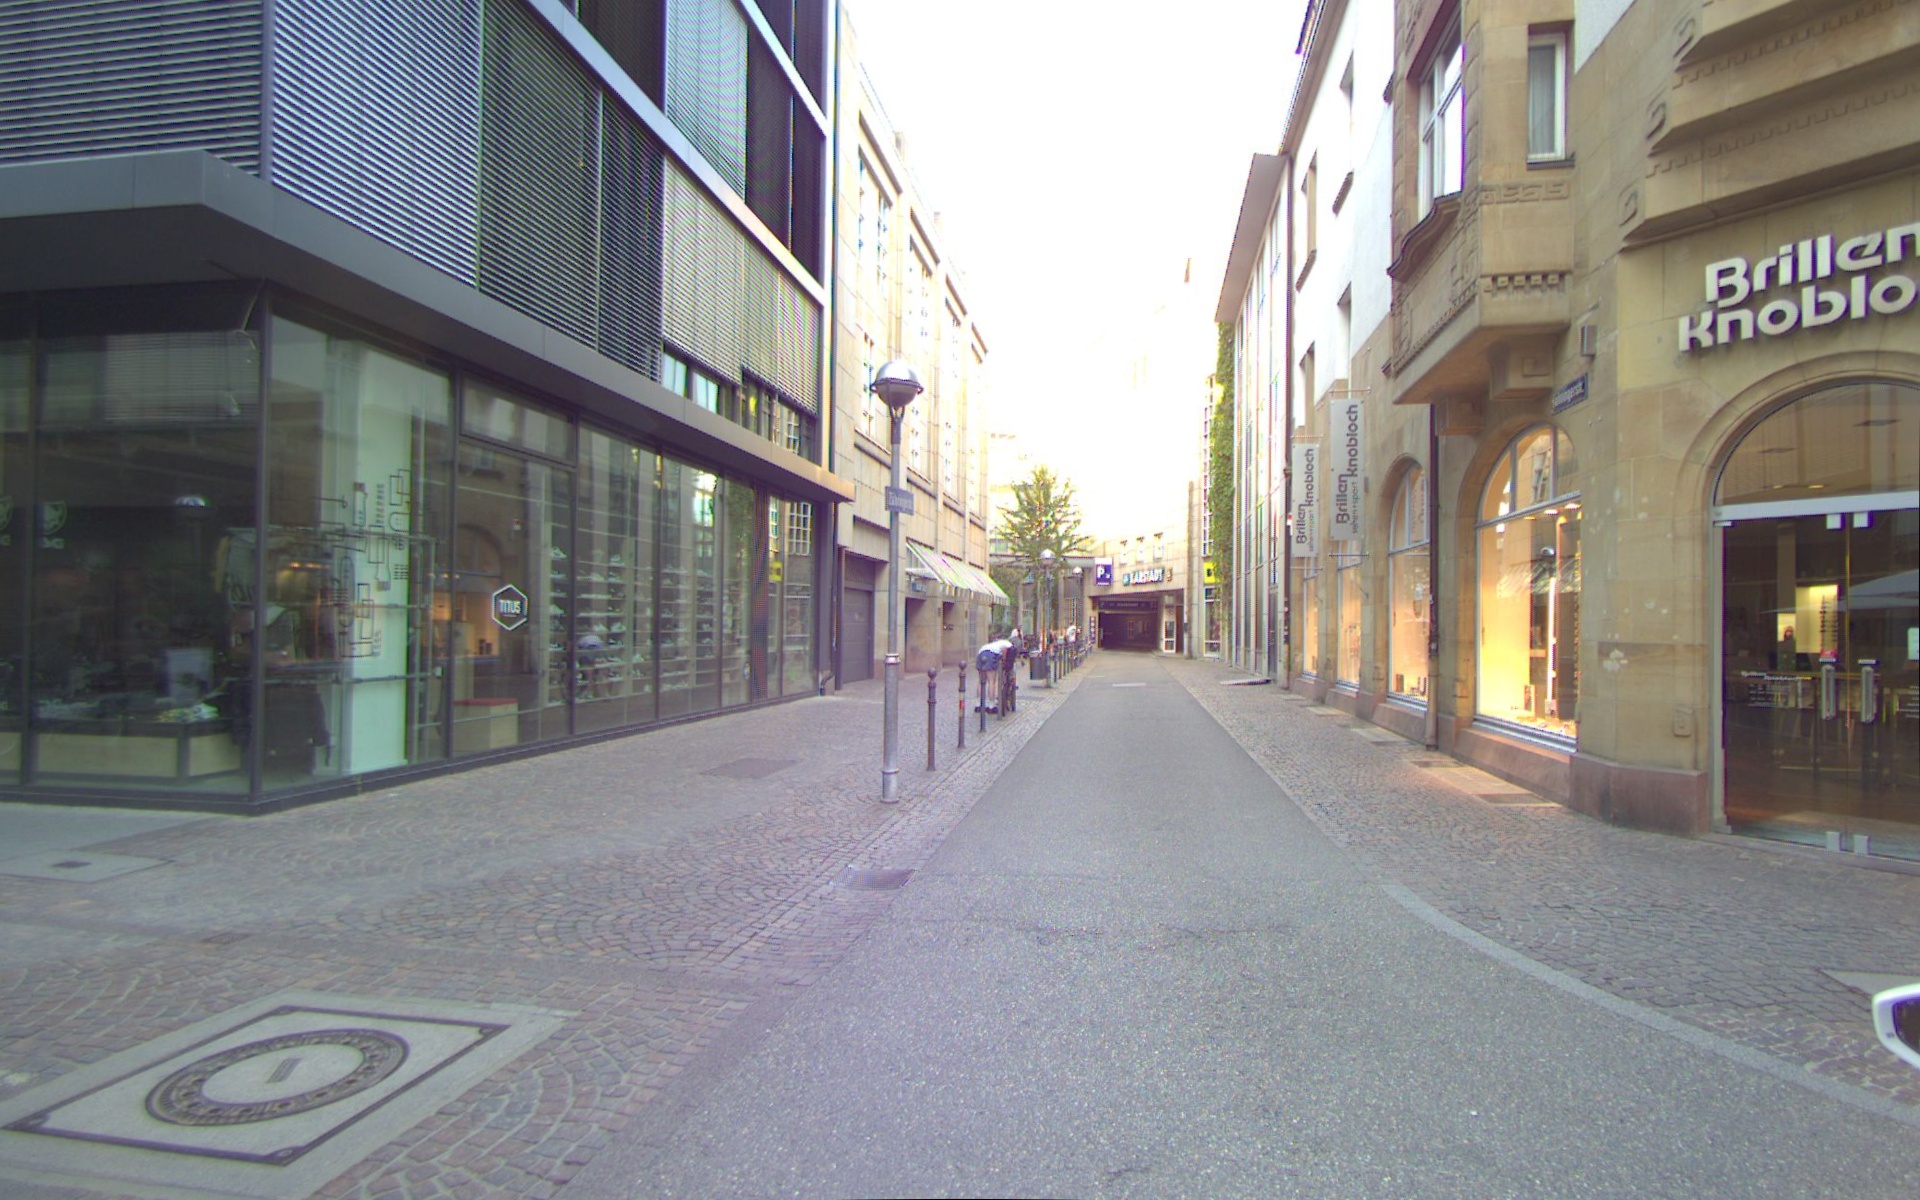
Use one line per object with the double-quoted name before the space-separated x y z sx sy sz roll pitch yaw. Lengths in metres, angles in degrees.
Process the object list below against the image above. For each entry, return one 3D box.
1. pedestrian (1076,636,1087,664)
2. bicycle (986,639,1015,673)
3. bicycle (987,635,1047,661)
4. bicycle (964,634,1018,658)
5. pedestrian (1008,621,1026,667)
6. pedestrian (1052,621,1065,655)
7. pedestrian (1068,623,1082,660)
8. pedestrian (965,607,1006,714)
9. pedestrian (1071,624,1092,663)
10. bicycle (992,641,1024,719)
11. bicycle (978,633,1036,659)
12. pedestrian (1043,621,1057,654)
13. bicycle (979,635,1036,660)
"pedestrian" 5.346 2.204 44.238 0.458 1.183 0.522 1 -1 11
"bicycle" 1.385 1.904 34.270 0.472 1.095 2.243 0 -1 16
"bicycle" 2.662 2.241 47.080 2.716 1.216 0.732 1 -1 -9
"bicycle" 1.587 2.353 51.886 2.716 1.216 0.732 1 -1 -9
"pedestrian" 2.241 1.720 39.639 0.645 1.787 0.616 0 -1 -4
"pedestrian" 4.776 1.842 48.629 0.574 1.625 0.628 1 -1 11
"pedestrian" 5.625 2.037 49.072 0.619 1.780 0.799 1 -1 11
"pedestrian" 0.447 1.034 17.488 0.598 1.814 0.911 0 -1 8
"pedestrian" 5.575 1.983 46.003 0.849 1.780 0.799 1 -1 11
"bicycle" 0.843 1.356 17.476 0.404 1.248 1.828 0 -1 7
"bicycle" 2.255 2.217 48.440 2.716 1.216 0.732 1 -1 -9
"pedestrian" 4.433 1.860 49.548 0.580 1.625 0.666 1 -1 11
"bicycle" 2.332 2.353 49.506 2.716 1.216 0.732 1 -1 -9
